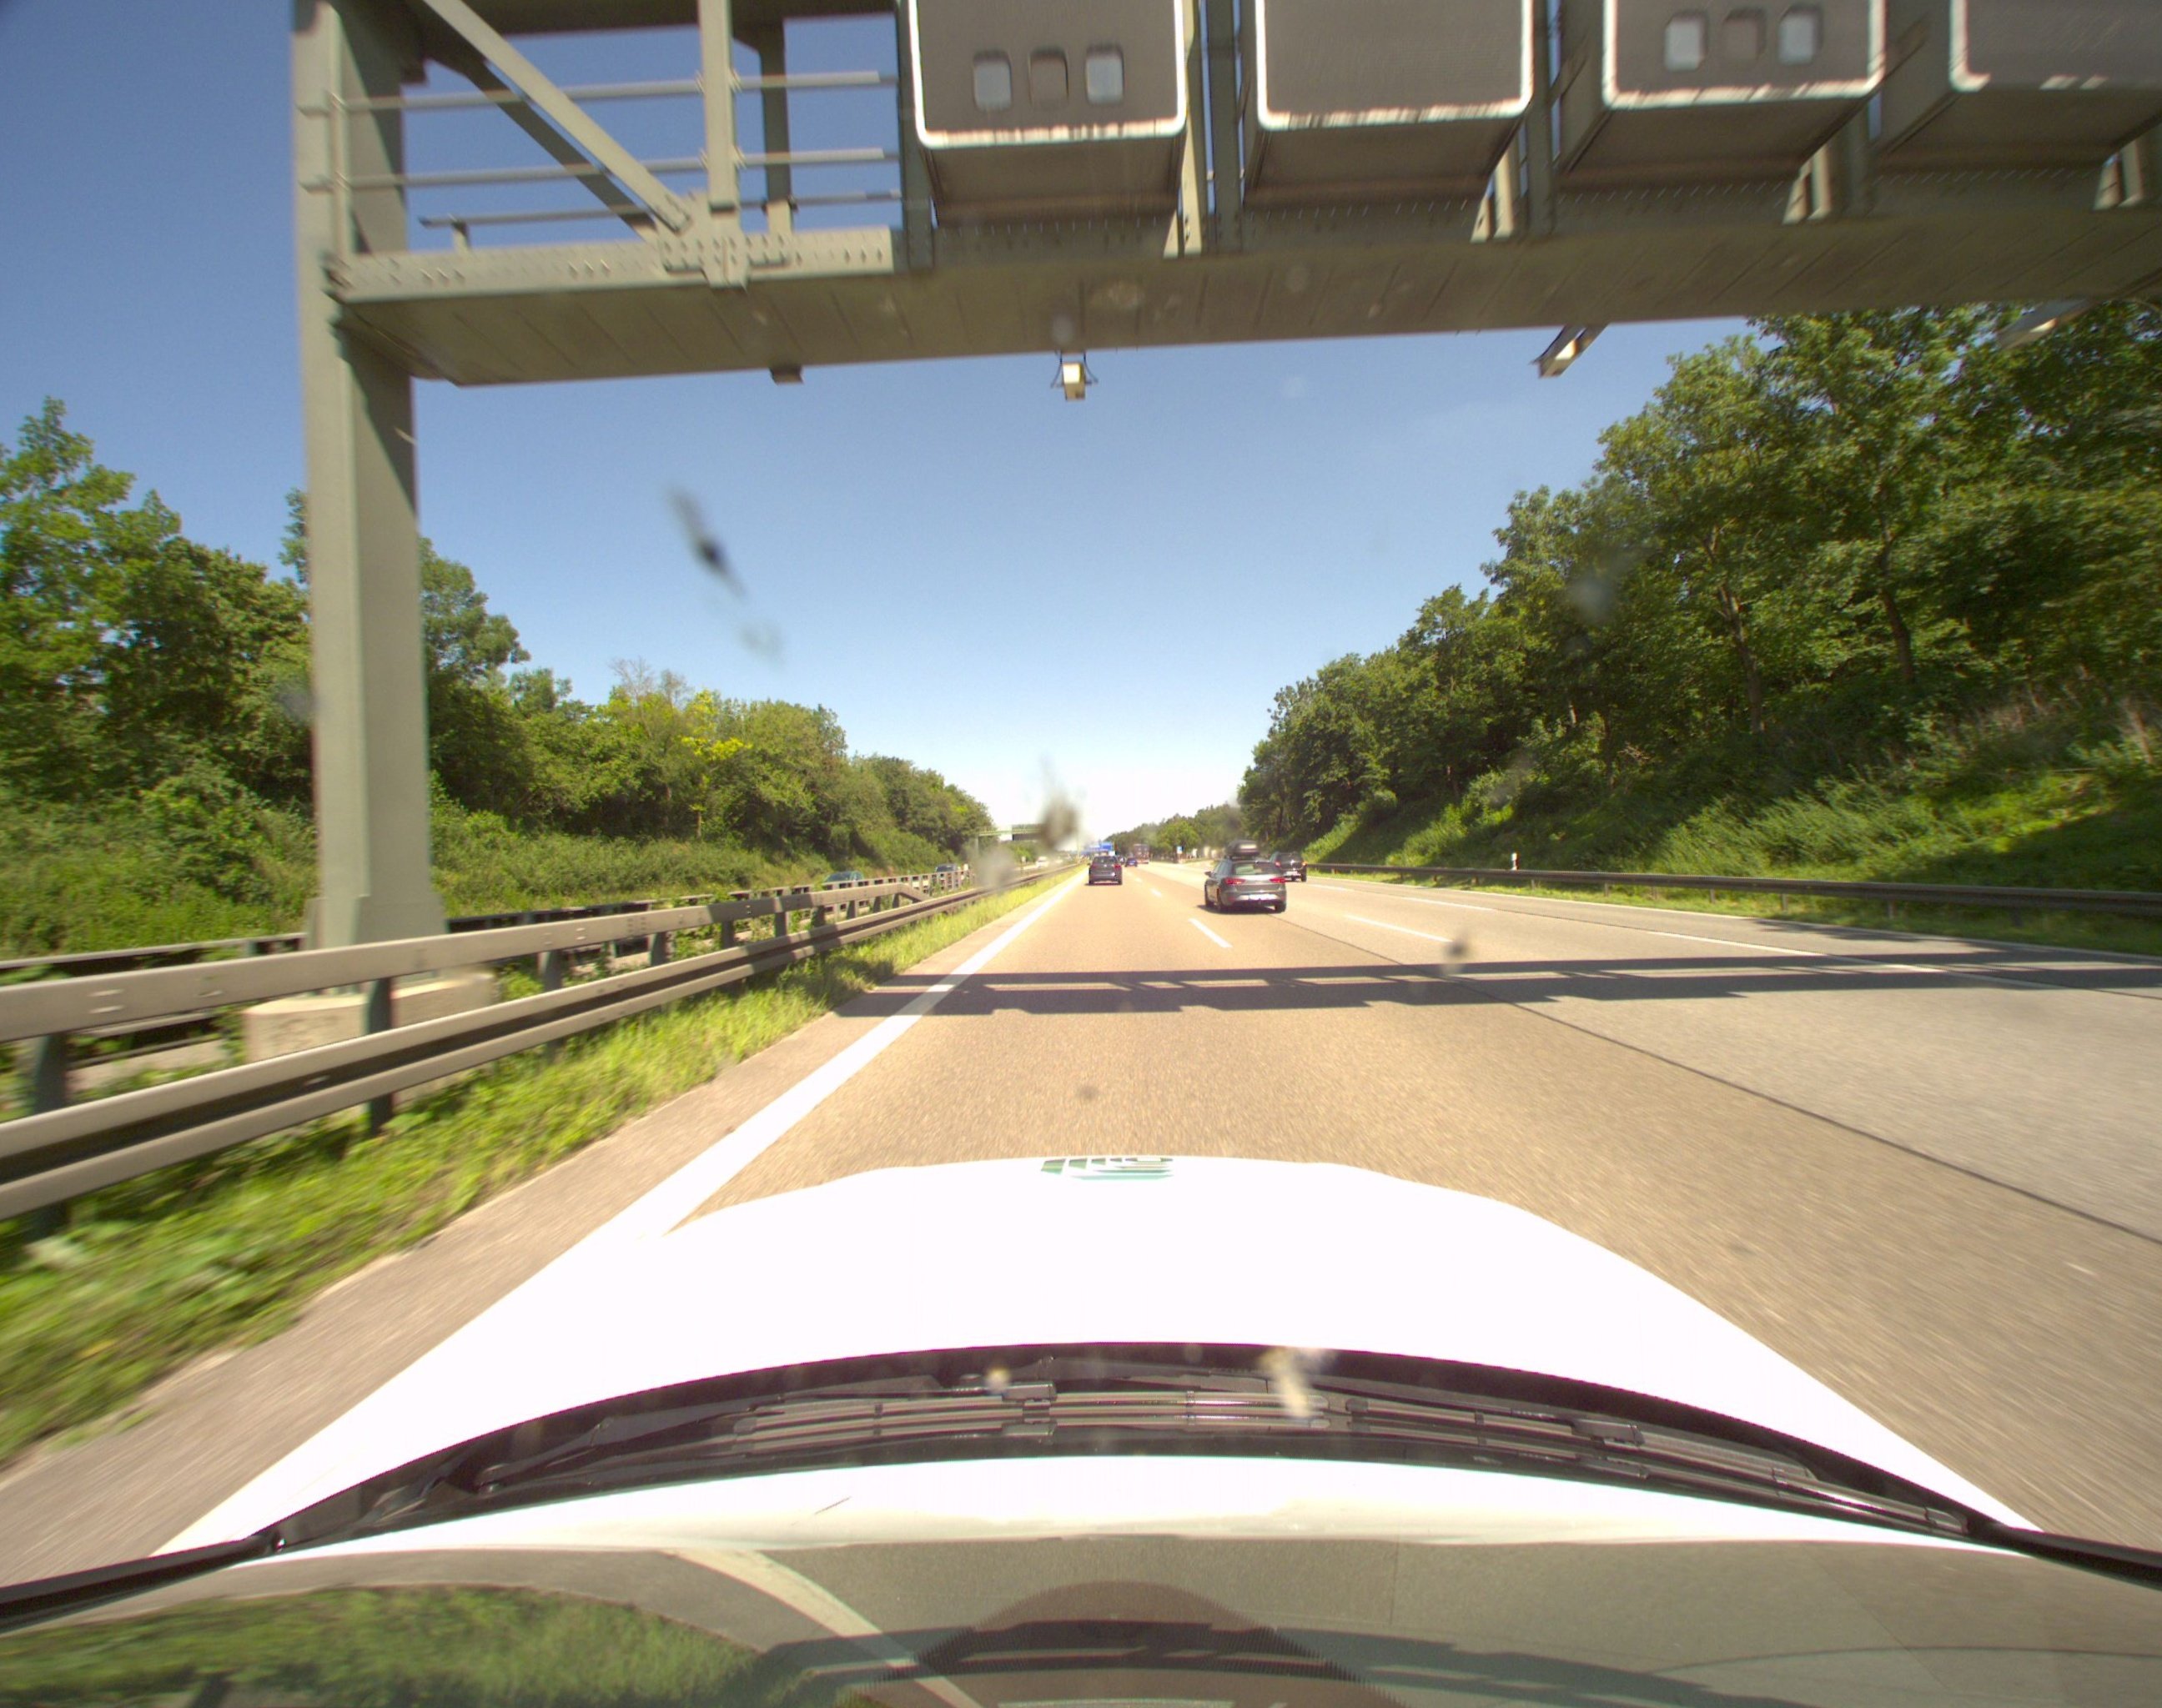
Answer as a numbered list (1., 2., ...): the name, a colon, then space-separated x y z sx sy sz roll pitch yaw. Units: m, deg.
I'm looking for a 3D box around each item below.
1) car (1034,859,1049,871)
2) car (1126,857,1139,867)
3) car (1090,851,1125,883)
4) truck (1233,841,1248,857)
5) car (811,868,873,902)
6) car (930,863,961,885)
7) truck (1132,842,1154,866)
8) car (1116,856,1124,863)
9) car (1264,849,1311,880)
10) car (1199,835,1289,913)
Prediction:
1. car: -6.028 1.689 125.354 1.805 1.617 3.916 -4 0 2
2. car: 7.477 1.133 118.088 1.757 1.381 4.262 -1 0 4
3. car: 1.501 0.663 44.752 1.791 1.669 4.262 -1 0 4
4. truck: 39.490 -1.234 201.780 3.263 3.947 9.381 -2 0 12
5. car: -12.218 1.566 41.889 1.651 1.478 4.322 -4 0 2
6. car: -11.189 1.653 67.274 1.651 1.617 3.916 -4 0 2
7. truck: 12.561 0.033 166.298 3.767 4.422 14.053 -1 0 1
8. car: 8.370 1.211 174.178 1.466 1.398 3.411 1 0 1
9. car: 11.141 0.541 44.199 1.757 1.568 4.262 -1 0 4
10. car: 4.403 0.496 22.659 1.658 1.876 4.830 -3 0 2
